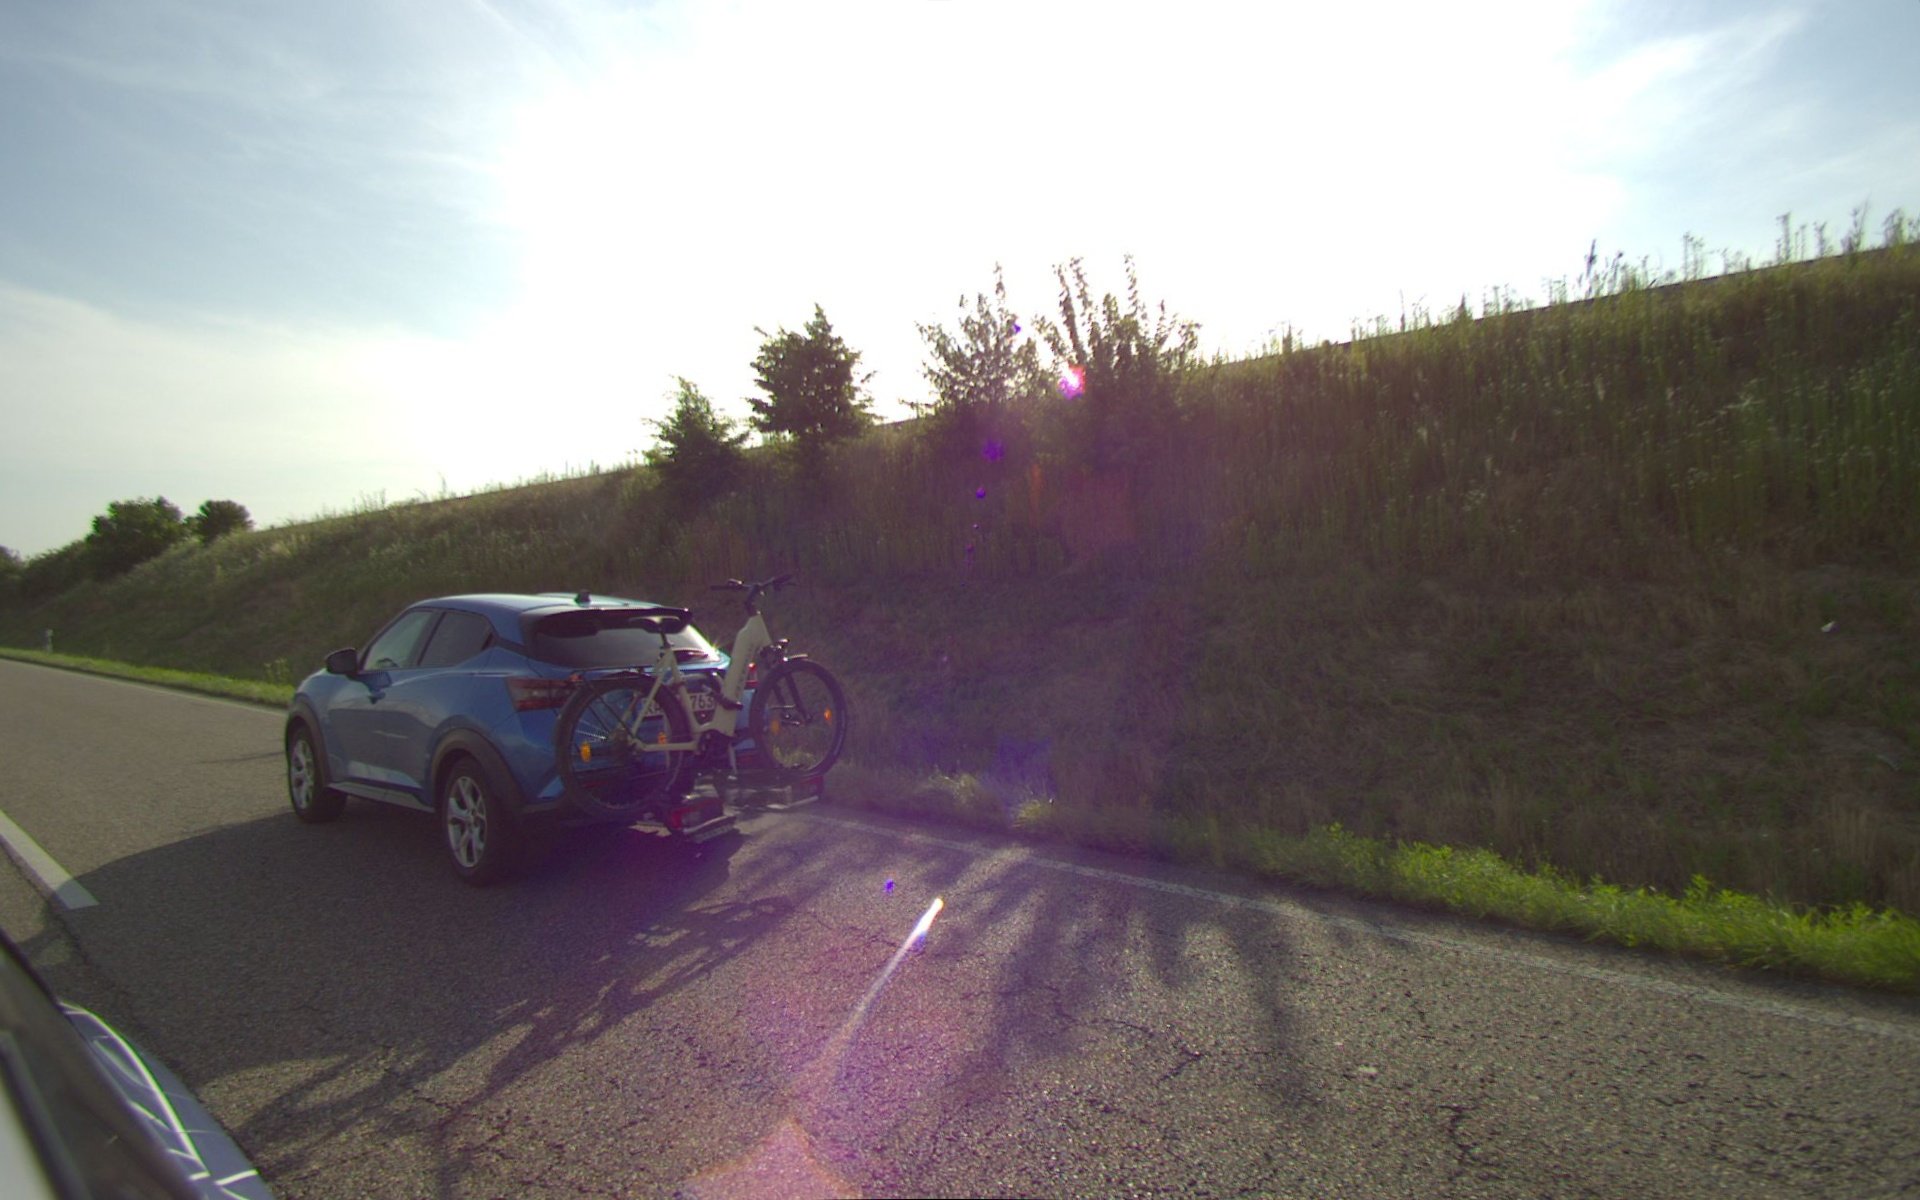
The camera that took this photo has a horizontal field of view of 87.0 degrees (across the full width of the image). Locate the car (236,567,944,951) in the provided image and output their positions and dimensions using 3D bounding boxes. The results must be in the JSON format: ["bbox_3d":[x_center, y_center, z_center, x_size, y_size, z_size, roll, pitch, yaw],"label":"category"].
[{"bbox_3d":[-2.802,0.694,6.748,5.337,1.585,2.119,-1,0,41],"label":"car"}]
